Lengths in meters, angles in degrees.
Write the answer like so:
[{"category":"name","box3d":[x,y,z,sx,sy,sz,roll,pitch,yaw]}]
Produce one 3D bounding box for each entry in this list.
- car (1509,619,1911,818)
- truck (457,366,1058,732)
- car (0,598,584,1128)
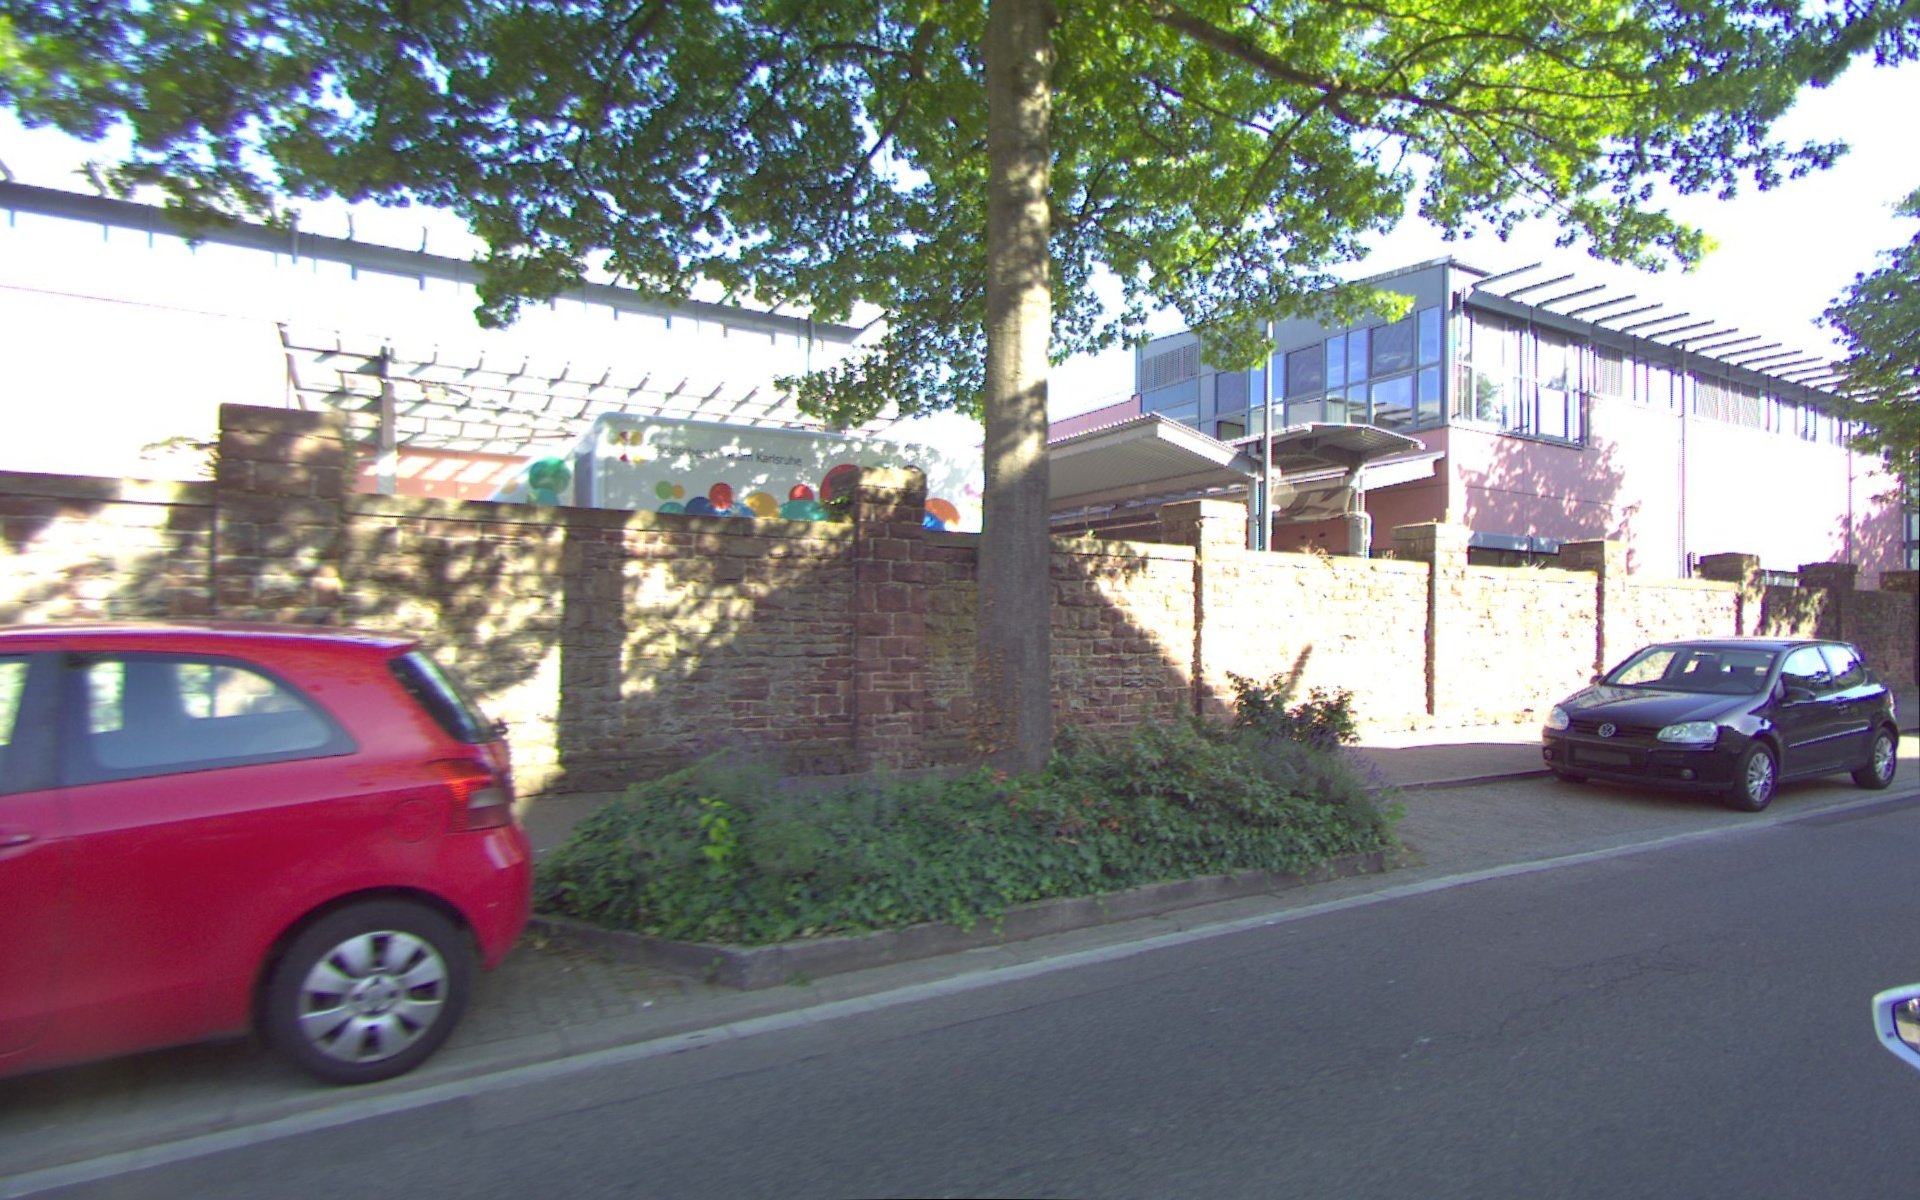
[{"category":"car","box3d":[7.520,1.025,10.008,4.056,1.613,1.730,1,-1,-29]},{"category":"truck","box3d":[-2.496,-0.465,13.400,7.342,3.761,2.719,1,0,-31]},{"category":"car","box3d":[-3.343,0.747,3.425,3.663,1.478,1.601,1,0,-29]}]
